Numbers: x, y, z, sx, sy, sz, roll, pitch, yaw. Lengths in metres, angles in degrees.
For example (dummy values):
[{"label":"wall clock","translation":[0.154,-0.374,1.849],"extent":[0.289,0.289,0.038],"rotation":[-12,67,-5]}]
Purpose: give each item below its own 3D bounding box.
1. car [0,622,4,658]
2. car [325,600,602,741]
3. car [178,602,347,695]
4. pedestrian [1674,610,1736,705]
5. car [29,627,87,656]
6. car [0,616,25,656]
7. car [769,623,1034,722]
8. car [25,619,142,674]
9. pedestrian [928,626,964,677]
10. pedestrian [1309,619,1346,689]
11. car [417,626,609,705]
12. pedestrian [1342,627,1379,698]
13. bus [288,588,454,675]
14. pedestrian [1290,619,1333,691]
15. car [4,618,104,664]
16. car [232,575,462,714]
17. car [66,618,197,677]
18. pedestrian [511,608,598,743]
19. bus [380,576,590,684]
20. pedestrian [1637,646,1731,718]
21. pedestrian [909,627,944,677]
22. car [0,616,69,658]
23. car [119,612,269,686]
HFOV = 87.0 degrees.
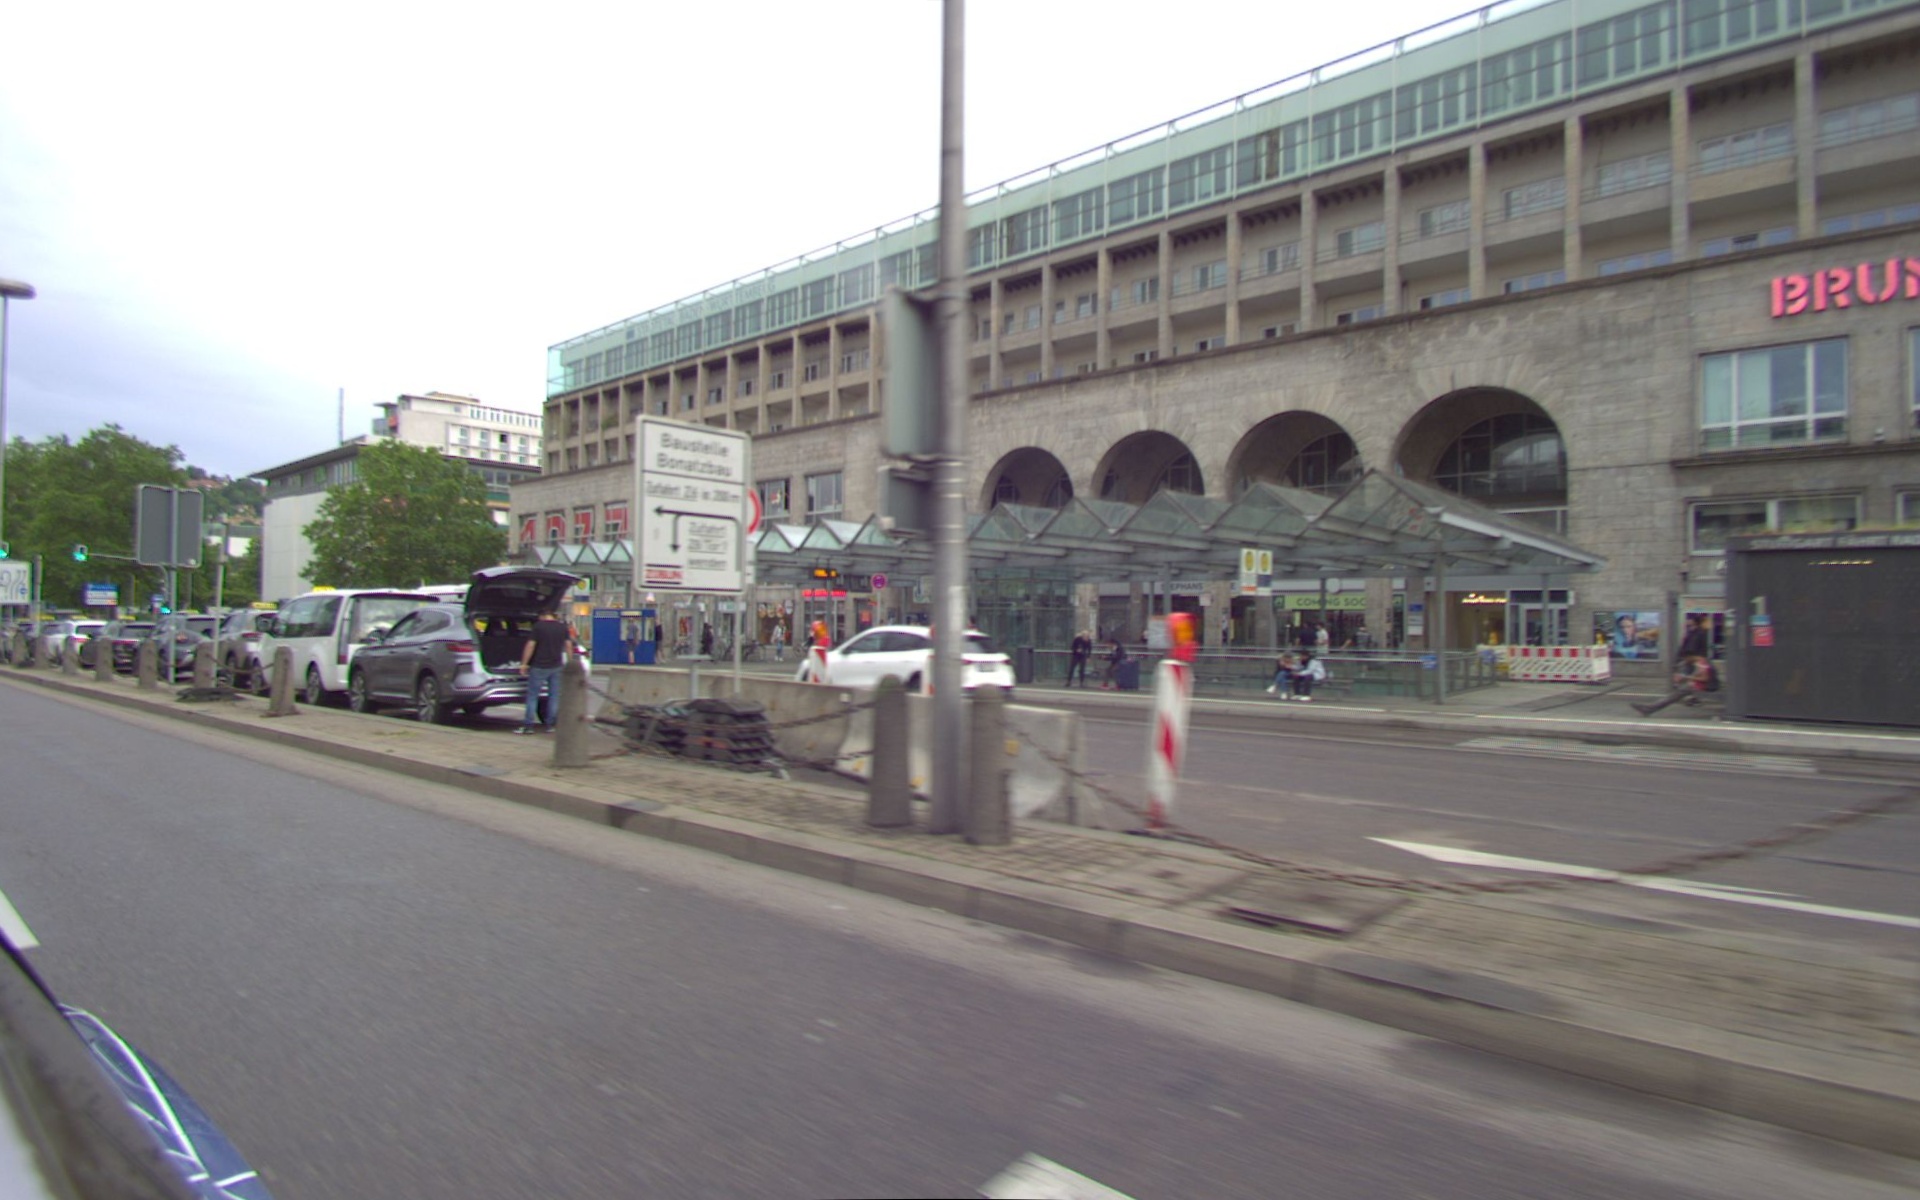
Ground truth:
[{"label":"car","translation":[-47.525,1.873,48.433],"extent":[4.677,1.703,1.910],"rotation":[-1,-4,39]},{"label":"car","translation":[-7.383,0.953,14.822],"extent":[4.780,1.735,1.972],"rotation":[-2,-3,41]},{"label":"car","translation":[-15.365,1.039,22.201],"extent":[4.579,1.820,1.909],"rotation":[-1,-4,41]},{"label":"pedestrian","translation":[15.252,1.163,20.721],"extent":[0.930,1.870,0.712],"rotation":[-2,-1,41]},{"label":"car","translation":[-56.094,2.580,62.908],"extent":[4.677,1.703,1.910],"rotation":[-1,-4,39]},{"label":"car","translation":[-43.003,1.580,44.621],"extent":[4.677,1.703,1.910],"rotation":[-1,-4,39]},{"label":"car","translation":[-1.169,1.291,18.502],"extent":[4.831,1.576,1.942],"rotation":[-2,-5,40]},{"label":"car","translation":[-28.724,1.511,33.123],"extent":[5.187,1.672,1.957],"rotation":[-1,-4,39]},{"label":"pedestrian","translation":[-0.473,1.726,34.195],"extent":[0.894,1.668,0.748],"rotation":[-2,-1,42]},{"label":"pedestrian","translation":[11.480,1.679,31.593],"extent":[0.759,2.142,0.807],"rotation":[2,-3,-41]},{"label":"car","translation":[-10.018,1.432,22.503],"extent":[4.831,1.576,1.942],"rotation":[-2,-5,40]},{"label":"pedestrian","translation":[11.842,1.819,29.900],"extent":[0.771,2.057,0.795],"rotation":[-2,-3,42]},{"label":"bus","translation":[-25.847,1.384,44.100],"extent":[10.566,3.402,2.848],"rotation":[-2,-3,40]},{"label":"pedestrian","translation":[10.746,1.672,30.937],"extent":[0.759,2.142,0.980],"rotation":[2,-3,-41]},{"label":"car","translation":[-33.334,1.490,37.197],"extent":[5.006,1.589,1.911],"rotation":[-1,-4,39]},{"label":"car","translation":[-11.316,0.791,18.484],"extent":[5.541,2.195,1.973],"rotation":[-2,-3,41]},{"label":"car","translation":[-24.151,1.359,29.434],"extent":[5.046,1.589,1.911],"rotation":[-1,-4,39]},{"label":"pedestrian","translation":[-5.225,0.950,13.053],"extent":[0.763,1.665,0.752],"rotation":[-2,-3,41]},{"label":"bus","translation":[-17.719,1.106,37.267],"extent":[10.566,3.486,2.848],"rotation":[-2,-2,40]},{"label":"pedestrian","translation":[12.562,1.402,17.573],"extent":[1.260,1.191,0.574],"rotation":[-2,-1,41]},{"label":"pedestrian","translation":[-1.144,1.765,34.791],"extent":[0.894,1.668,0.748],"rotation":[-2,-1,42]},{"label":"car","translation":[-38.310,1.500,41.374],"extent":[5.255,1.589,1.910],"rotation":[-1,-4,39]},{"label":"car","translation":[-19.494,1.223,25.676],"extent":[4.881,1.712,1.910],"rotation":[-1,-4,40]}]
